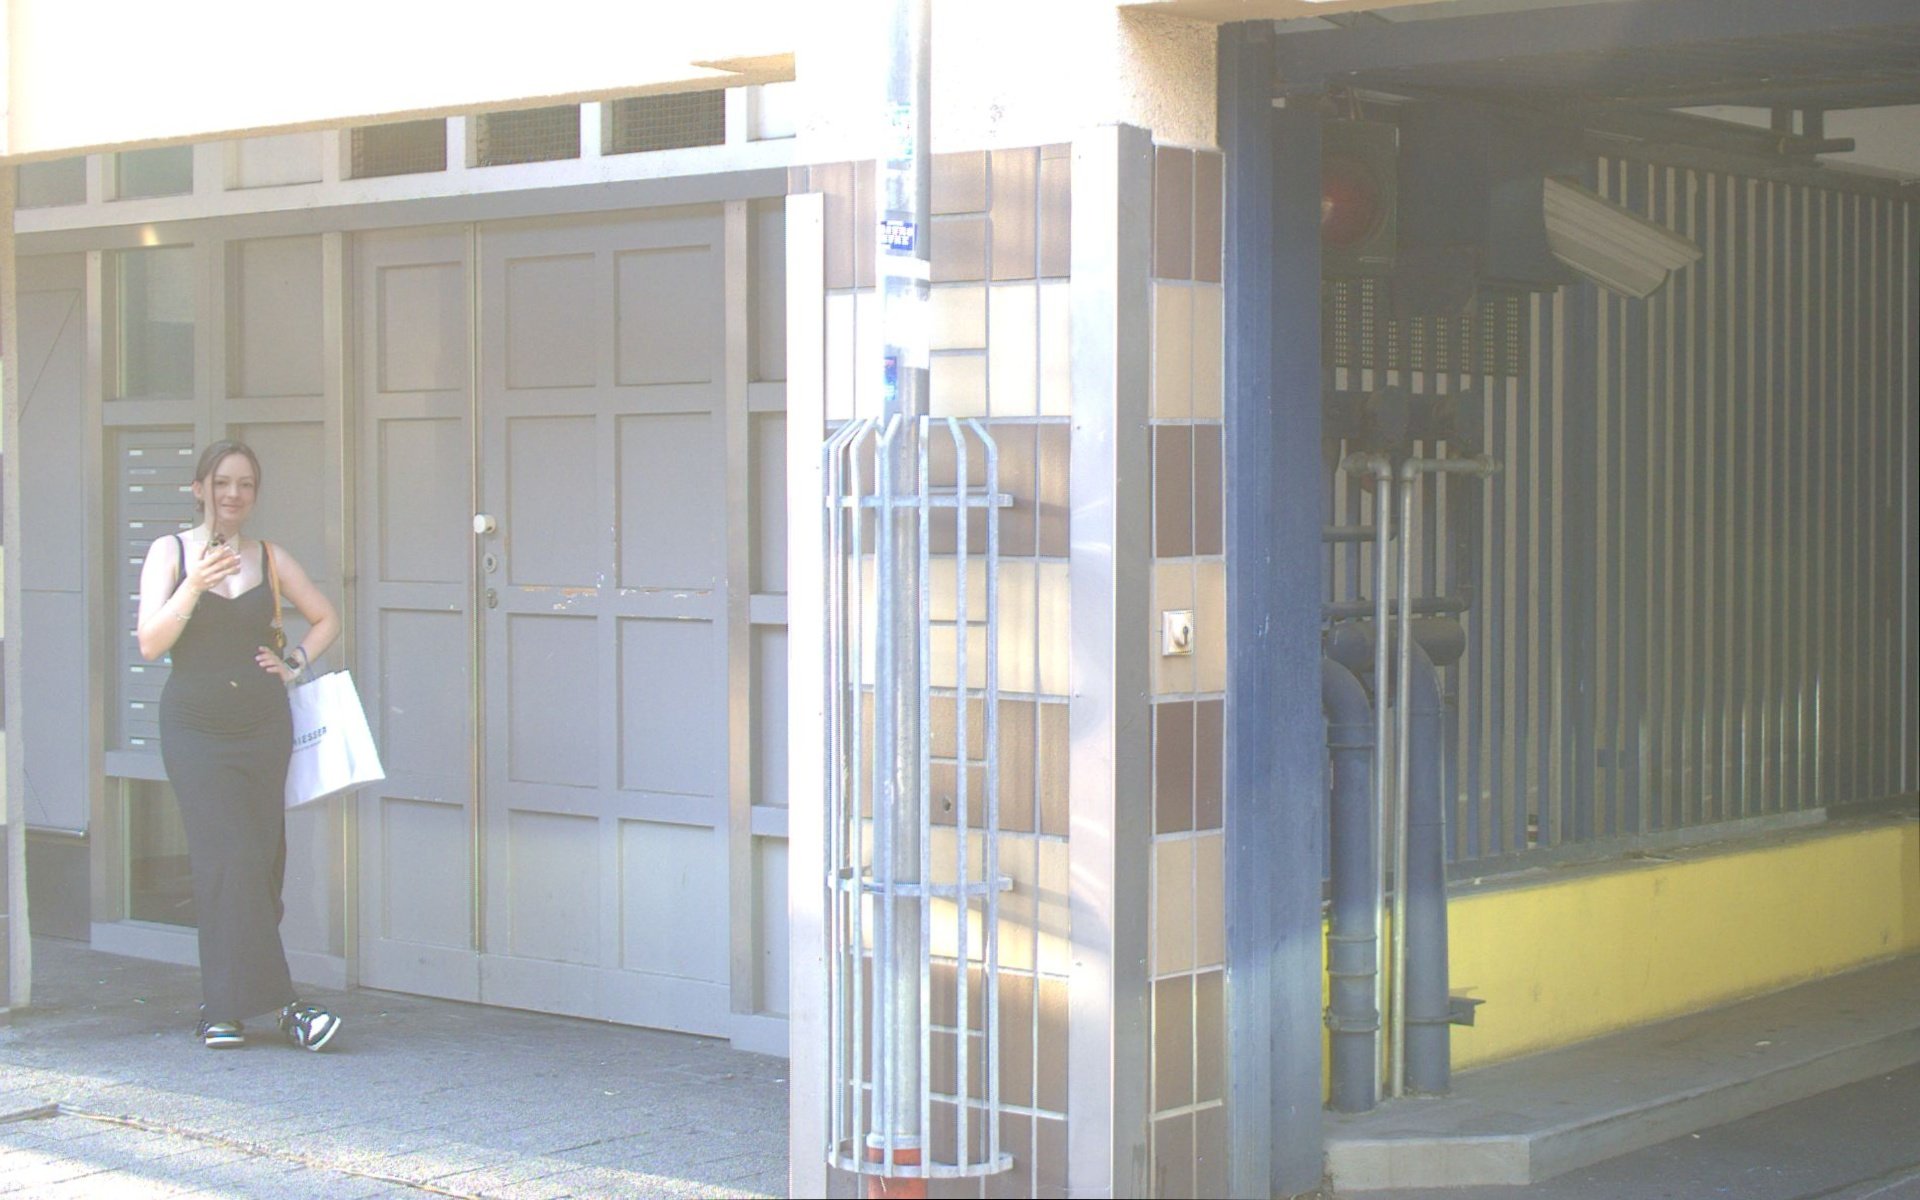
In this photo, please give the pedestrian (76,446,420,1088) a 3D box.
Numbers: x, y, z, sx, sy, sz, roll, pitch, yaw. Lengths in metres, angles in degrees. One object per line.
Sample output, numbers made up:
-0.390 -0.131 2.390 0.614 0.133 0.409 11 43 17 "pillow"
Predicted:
-1.821 0.397 8.772 0.776 1.567 0.534 0 2 -22 "pedestrian"
